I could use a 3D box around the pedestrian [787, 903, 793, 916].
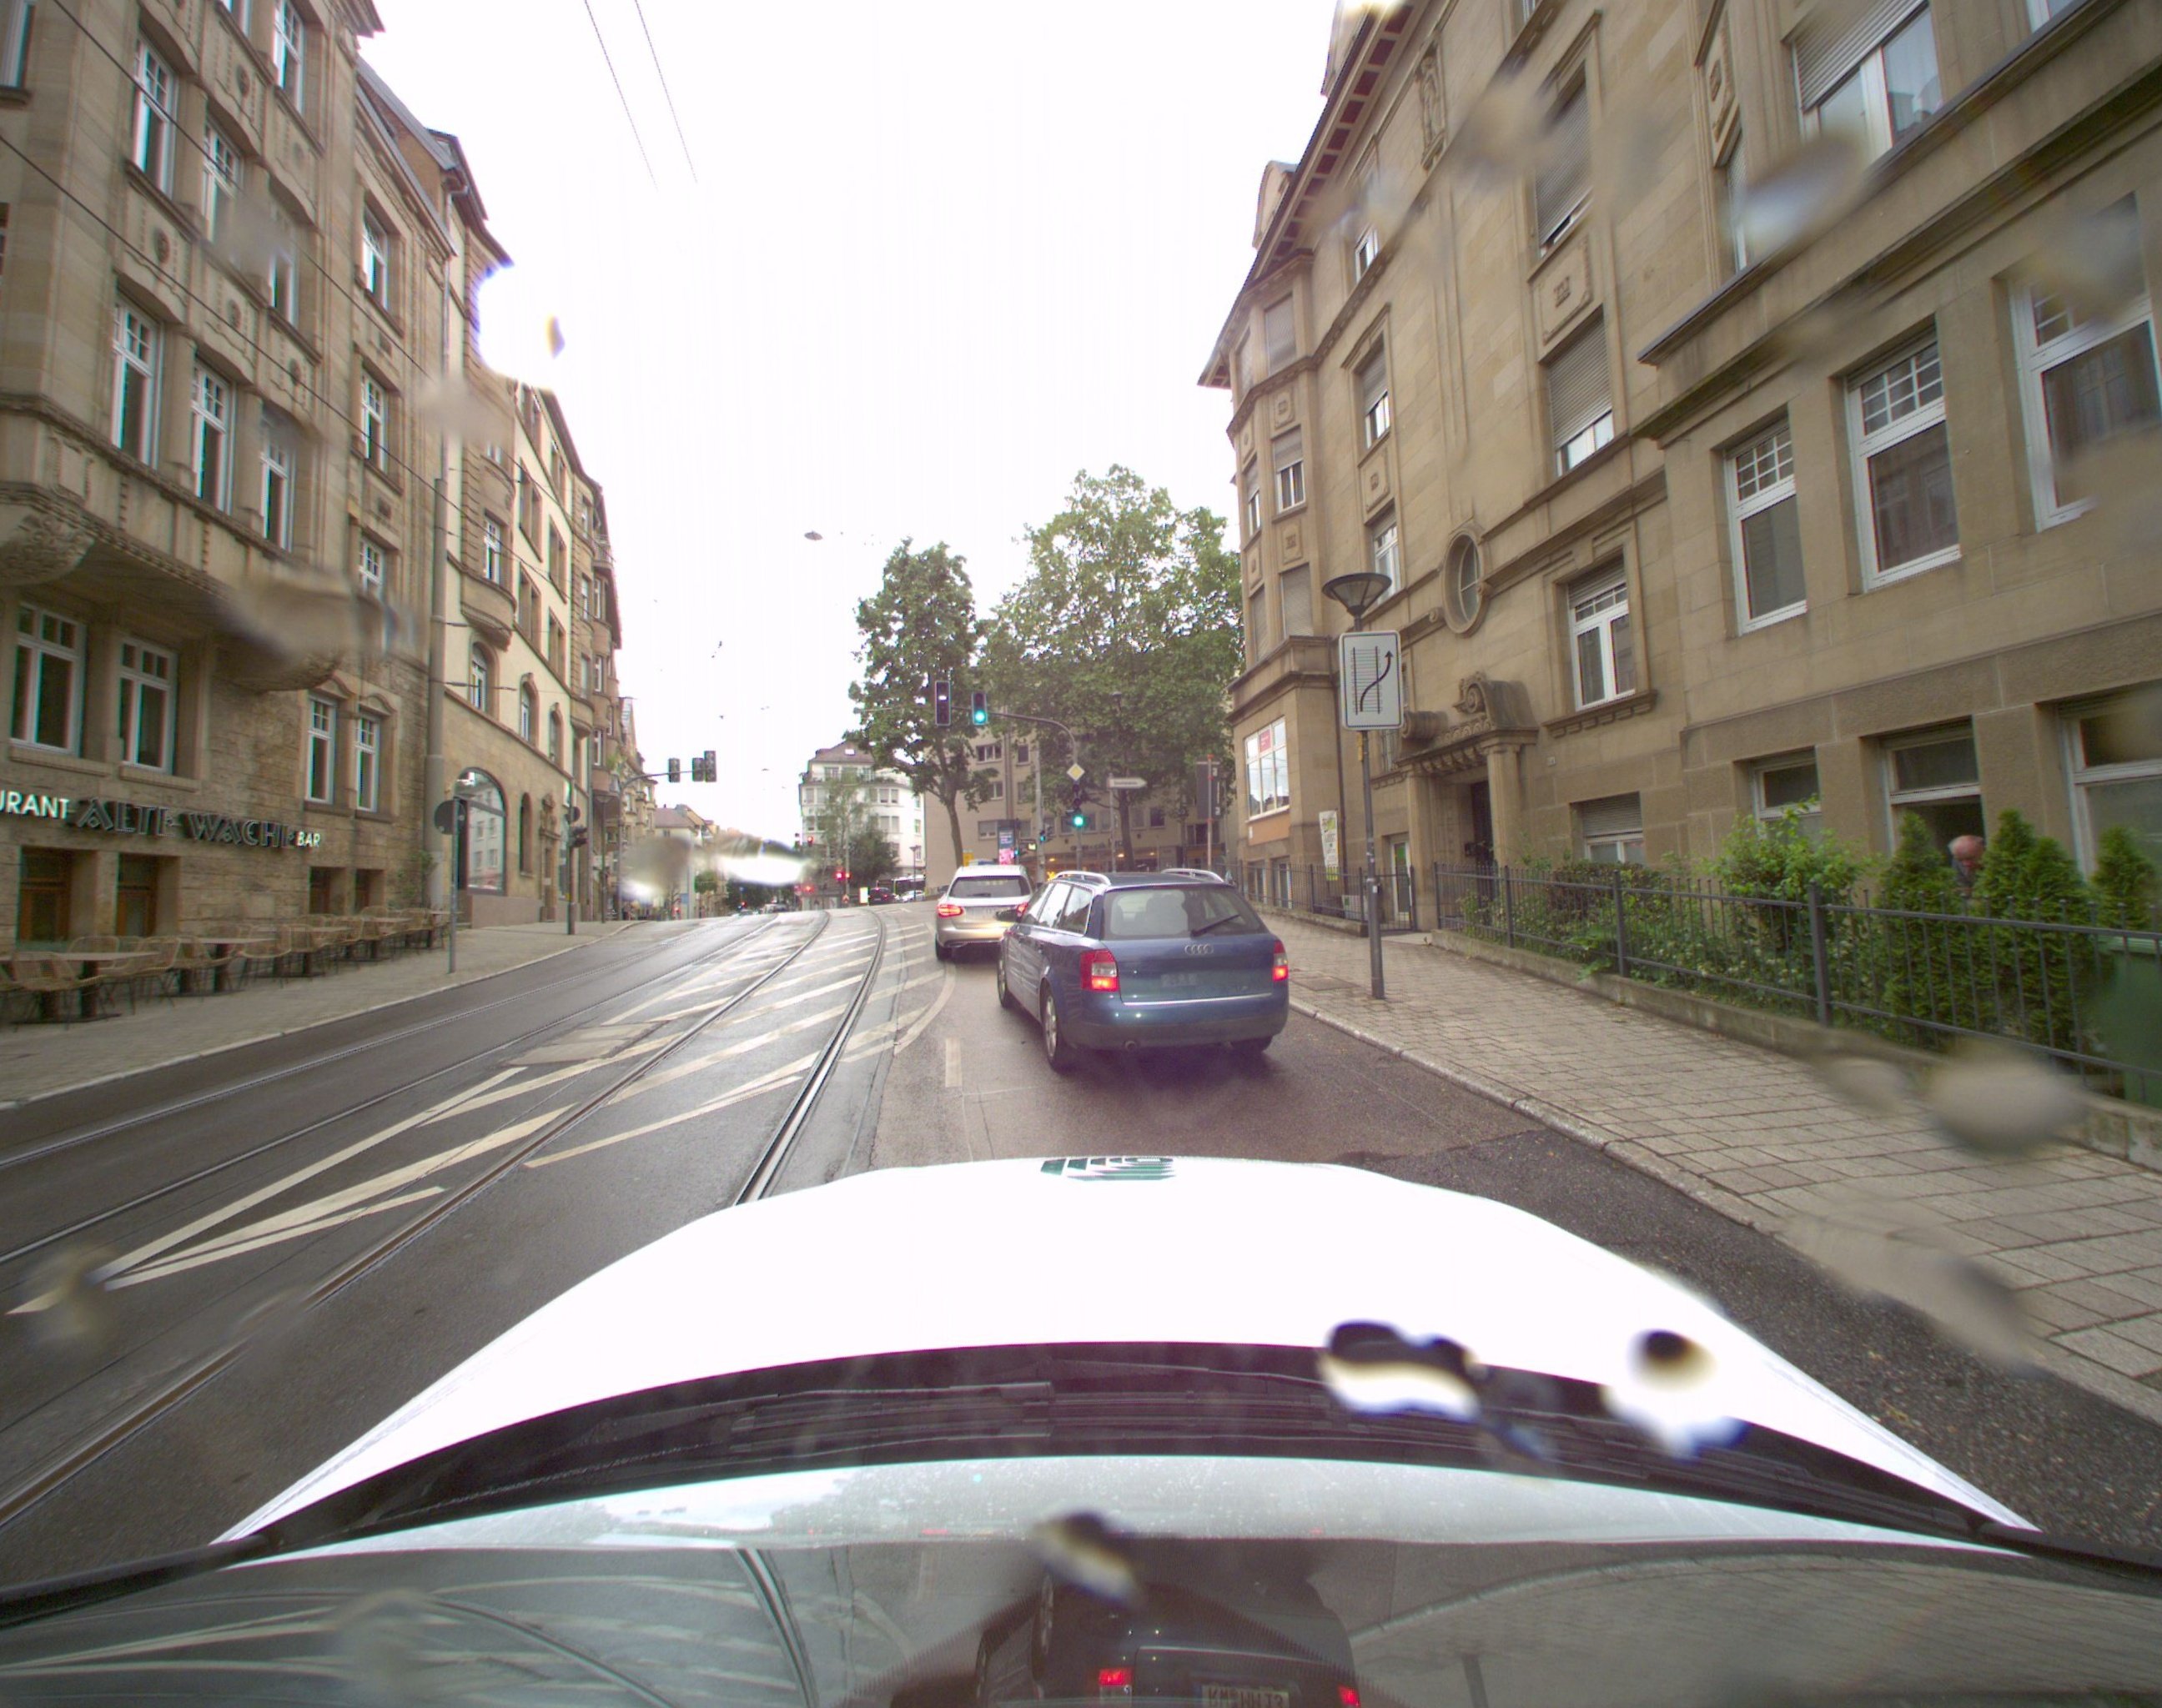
[{"bbox_3d":[-38.063,7.292,106.505,0.650,1.661,0.646,-1,-1,-18],"label":"pedestrian"}]

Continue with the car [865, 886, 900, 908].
[{"bbox_3d":[-16.632,3.550,68.476,1.788,1.510,4.000,-5,0,1],"label":"car"}]

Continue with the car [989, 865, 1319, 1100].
[{"bbox_3d":[0.305,0.839,7.312,1.713,1.415,4.016,-1,0,-14],"label":"car"}]

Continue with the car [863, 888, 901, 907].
[{"bbox_3d":[-20.358,4.417,83.566,1.779,1.614,4.020,-3,0,20],"label":"car"}]

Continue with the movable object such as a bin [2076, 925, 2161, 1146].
[{"bbox_3d":[5.403,0.881,3.910,0.537,1.026,0.602,2,-2,-10],"label":"movable object such as a bin"}]

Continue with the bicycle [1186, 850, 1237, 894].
[{"bbox_3d":[3.818,0.514,23.809,1.300,1.173,0.524,-4,0,-11],"label":"bicycle"}]

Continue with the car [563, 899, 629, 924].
[{"bbox_3d":[-36.241,4.290,60.955,4.008,1.510,1.785,-2,0,-26],"label":"car"}]

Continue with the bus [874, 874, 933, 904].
[{"bbox_3d":[-20.616,4.027,95.207,2.832,2.861,8.771,-3,0,16],"label":"bus"}]

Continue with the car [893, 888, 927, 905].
[{"bbox_3d":[-18.625,4.608,88.873,1.779,1.510,4.020,-3,0,20],"label":"car"}]

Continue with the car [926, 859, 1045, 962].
[{"bbox_3d":[-1.558,0.833,13.742,1.708,1.456,3.546,-1,0,-5],"label":"car"}]

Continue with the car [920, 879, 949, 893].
[{"bbox_3d":[-18.390,4.019,102.262,1.779,1.510,4.020,-3,0,20],"label":"car"}]
